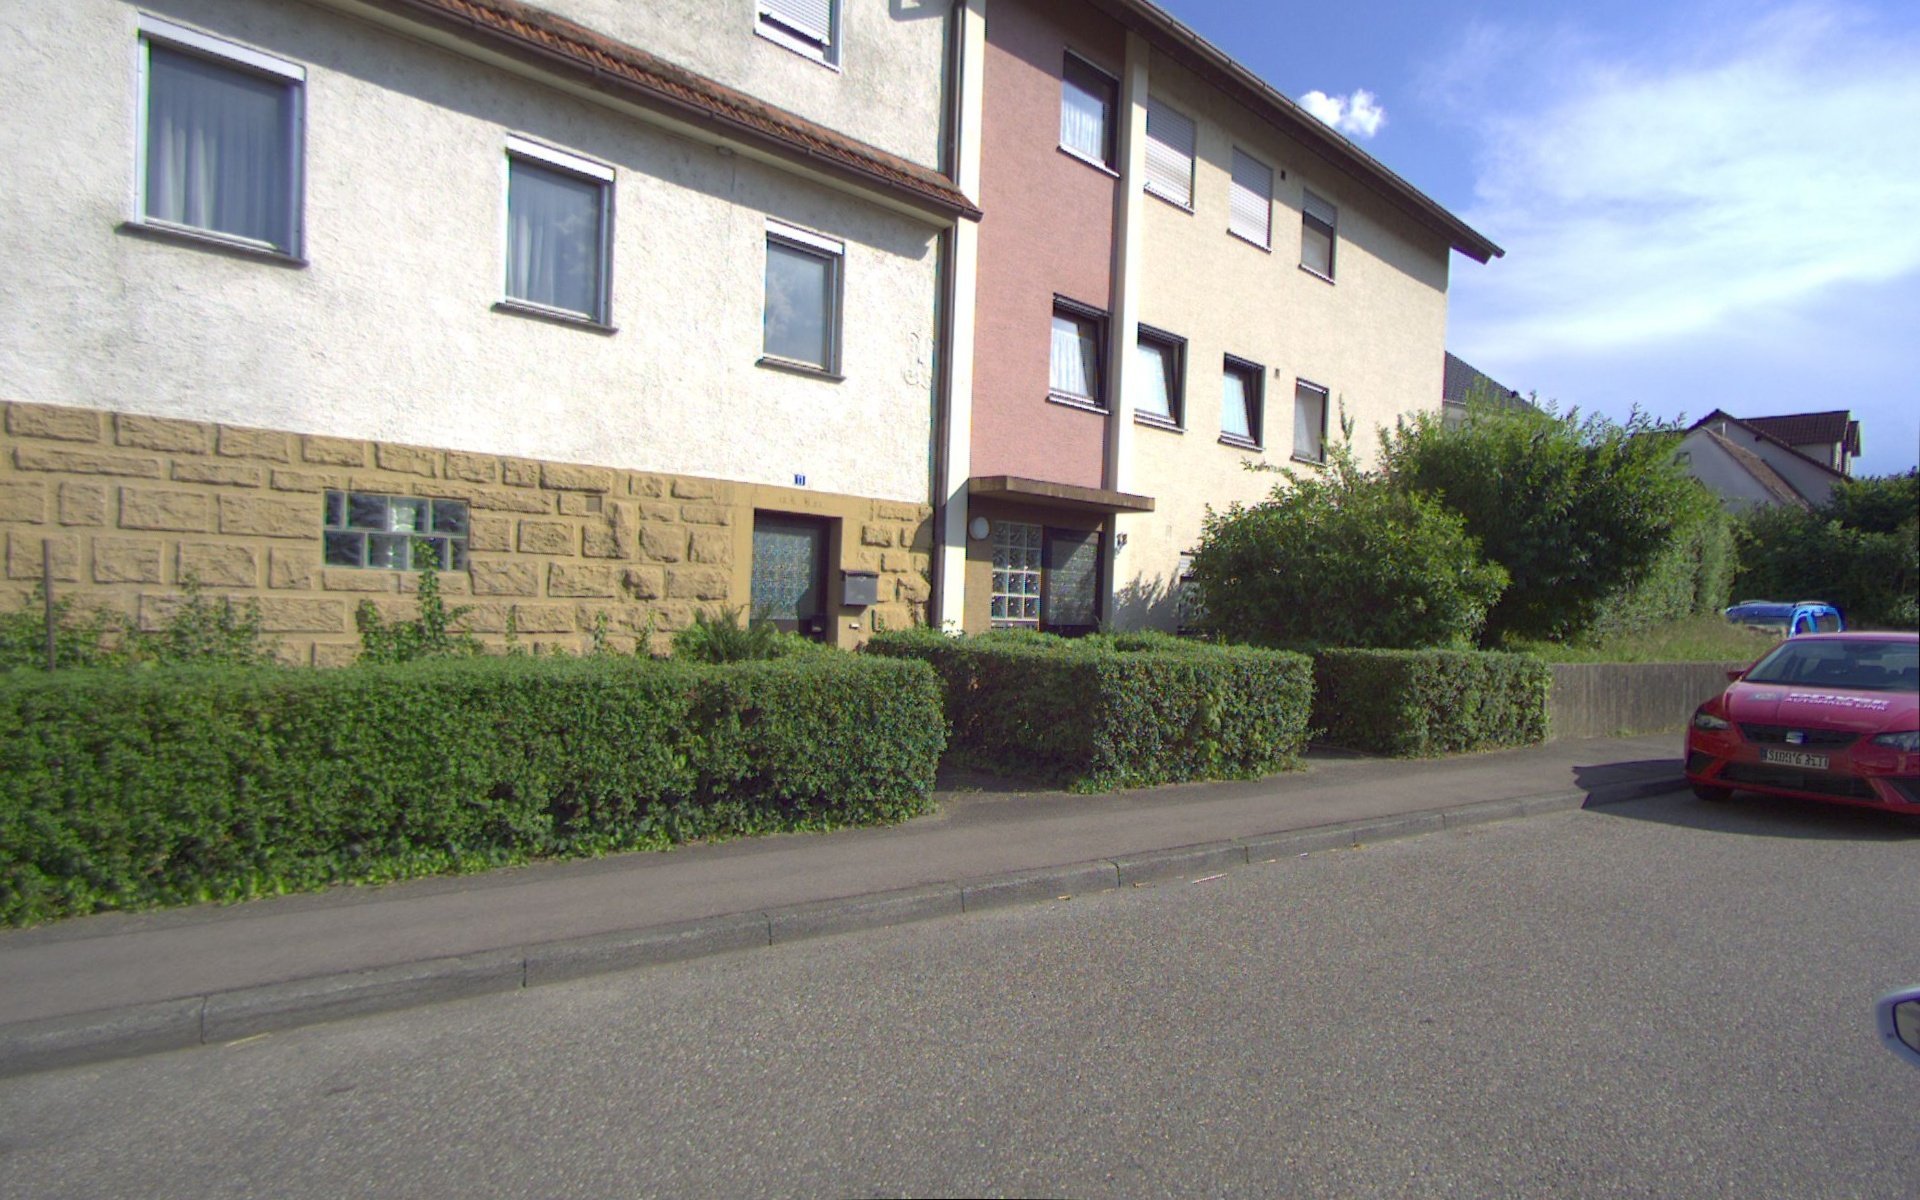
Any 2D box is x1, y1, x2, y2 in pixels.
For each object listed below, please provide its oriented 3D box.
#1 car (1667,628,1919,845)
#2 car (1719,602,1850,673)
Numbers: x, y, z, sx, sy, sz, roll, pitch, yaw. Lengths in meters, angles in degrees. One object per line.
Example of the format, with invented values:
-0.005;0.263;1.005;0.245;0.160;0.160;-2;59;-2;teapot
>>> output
7.695;0.998;8.445;3.742;1.453;1.698;2;-2;-35;car
17.485;0.800;21.279;3.163;1.390;1.350;2;-2;-35;car
